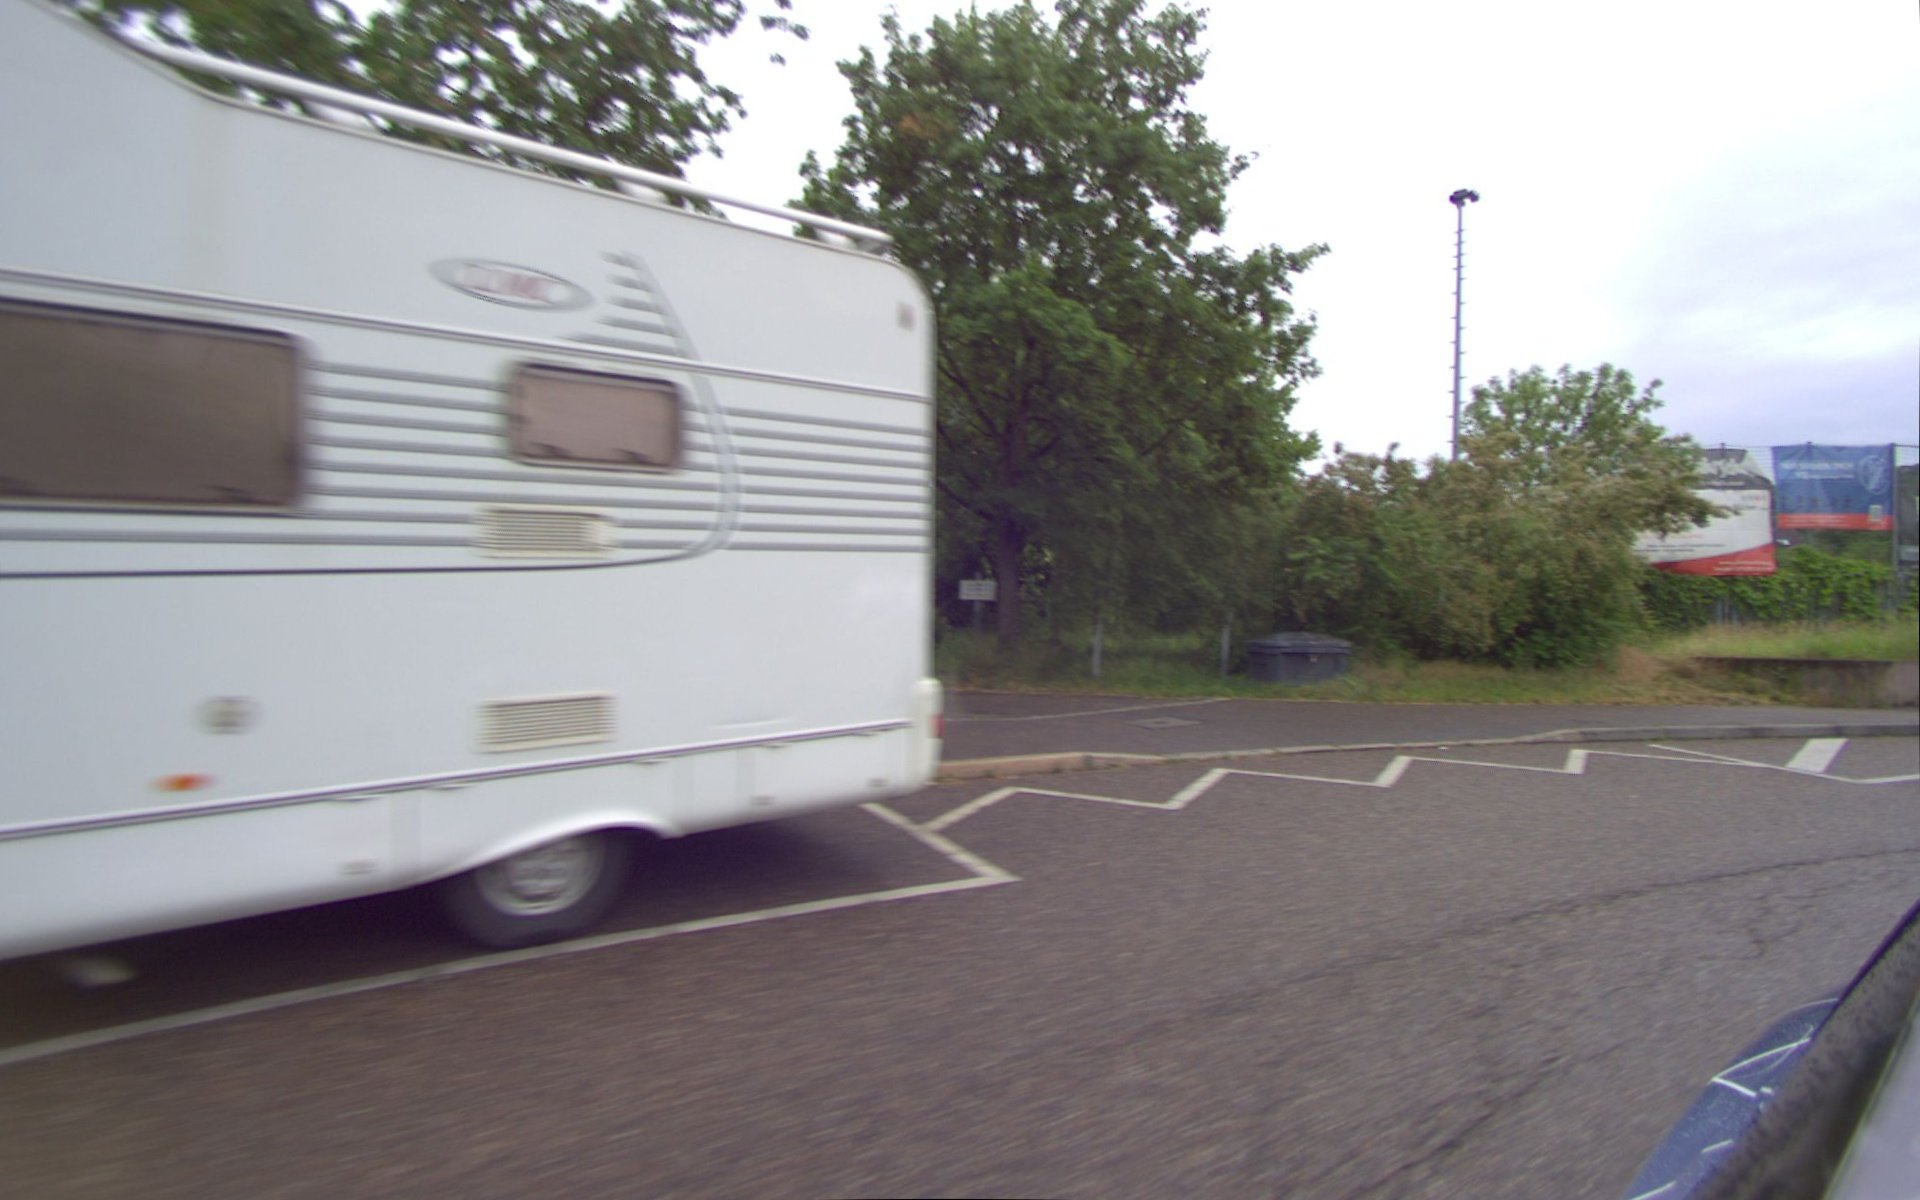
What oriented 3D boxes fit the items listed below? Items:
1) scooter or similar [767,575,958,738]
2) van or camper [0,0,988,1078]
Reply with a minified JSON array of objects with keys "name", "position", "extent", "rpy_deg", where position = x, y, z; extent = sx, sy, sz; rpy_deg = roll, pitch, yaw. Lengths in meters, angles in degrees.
[{"name":"scooter or similar","position":[-0.813,0.445,8.787],"extent":[1.678,1.299,0.451],"rpy_deg":[0,0,-39]},{"name":"van or camper","position":[-3.044,-0.261,3.806],"extent":[6.168,2.980,2.396],"rpy_deg":[1,2,-39]}]
